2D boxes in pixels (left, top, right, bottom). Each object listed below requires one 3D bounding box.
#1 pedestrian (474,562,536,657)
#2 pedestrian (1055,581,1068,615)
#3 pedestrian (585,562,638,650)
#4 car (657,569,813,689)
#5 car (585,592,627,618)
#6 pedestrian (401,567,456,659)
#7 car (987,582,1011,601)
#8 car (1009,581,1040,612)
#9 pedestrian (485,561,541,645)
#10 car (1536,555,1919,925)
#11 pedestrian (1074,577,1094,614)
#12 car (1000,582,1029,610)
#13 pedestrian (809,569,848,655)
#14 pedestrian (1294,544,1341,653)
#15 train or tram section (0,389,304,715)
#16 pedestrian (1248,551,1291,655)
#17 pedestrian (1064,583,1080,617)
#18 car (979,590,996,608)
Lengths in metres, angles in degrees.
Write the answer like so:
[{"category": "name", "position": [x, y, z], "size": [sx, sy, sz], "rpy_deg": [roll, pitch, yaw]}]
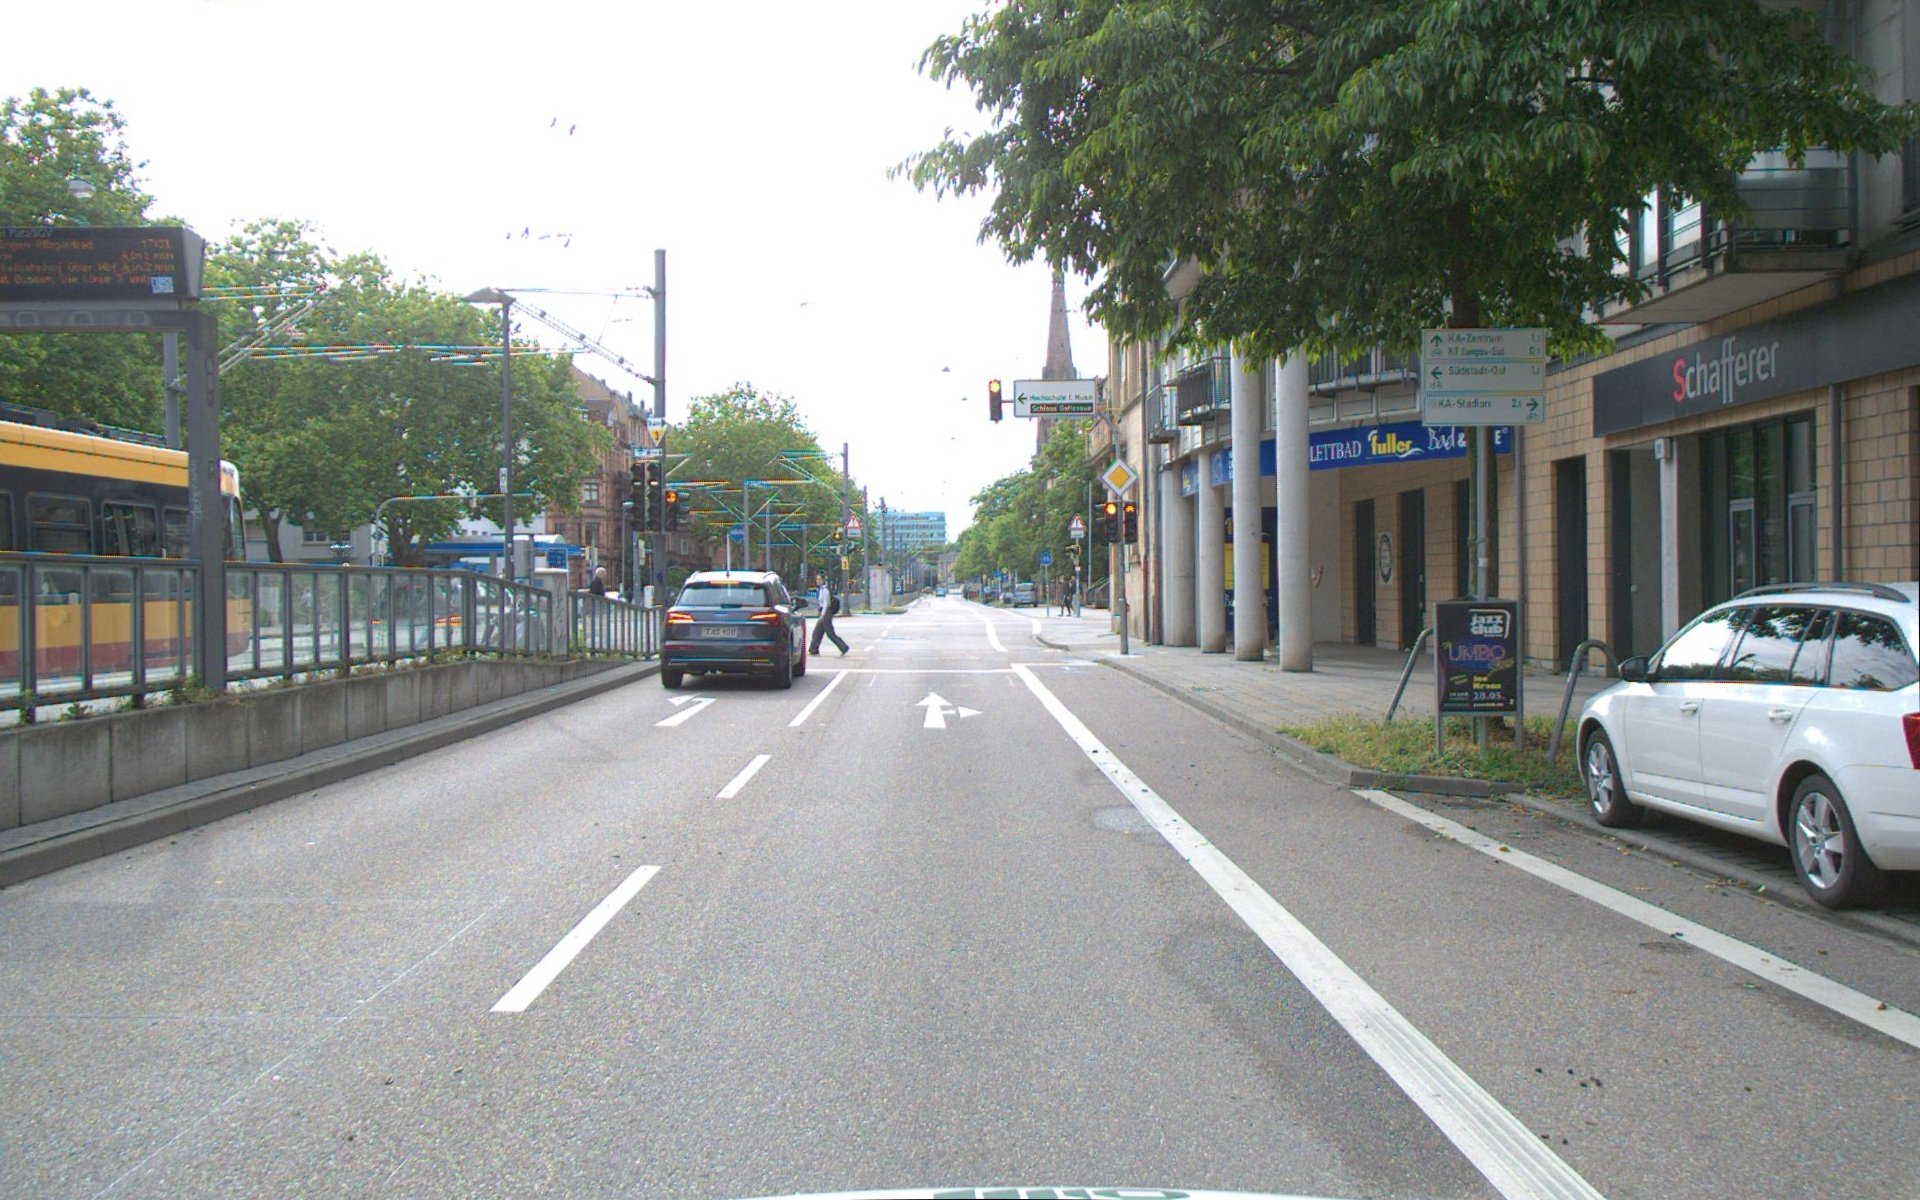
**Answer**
[{"category": "pedestrian", "position": [-8.752, 0.177, 31.808], "size": [1.113, 1.810, 0.625], "rpy_deg": [0, 0, -18]}, {"category": "pedestrian", "position": [4.699, -0.082, 76.789], "size": [0.535, 1.564, 0.465], "rpy_deg": [0, 0, -5]}, {"category": "pedestrian", "position": [-7.305, 0.120, 34.643], "size": [0.900, 1.815, 0.645], "rpy_deg": [0, 0, 37]}, {"category": "car", "position": [-3.270, 0.383, 24.804], "size": [1.842, 1.629, 4.356], "rpy_deg": [0, 0, -2]}, {"category": "car", "position": [-21.988, 0.276, 102.852], "size": [1.856, 1.585, 3.835], "rpy_deg": [0, 0, -1]}, {"category": "pedestrian", "position": [-10.736, 0.260, 33.416], "size": [0.998, 1.845, 0.580], "rpy_deg": [0, 0, -24]}, {"category": "car", "position": [3.599, -0.788, 152.538], "size": [1.953, 1.635, 4.163], "rpy_deg": [-2, 0, -1]}, {"category": "car", "position": [4.446, -0.259, 114.303], "size": [1.953, 2.049, 3.999], "rpy_deg": [0, 0, -1]}, {"category": "pedestrian", "position": [-9.116, 0.055, 33.742], "size": [0.982, 1.681, 0.622], "rpy_deg": [0, 0, -29]}, {"category": "car", "position": [4.828, 0.554, 9.221], "size": [1.642, 1.525, 4.390], "rpy_deg": [-3, 0, 0]}, {"category": "pedestrian", "position": [5.579, -0.204, 74.612], "size": [0.834, 1.683, 0.508], "rpy_deg": [0, 0, -3]}, {"category": "car", "position": [4.032, -0.304, 123.731], "size": [1.953, 2.049, 3.999], "rpy_deg": [0, 0, -1]}, {"category": "pedestrian", "position": [-2.619, 0.232, 33.037], "size": [0.713, 1.690, 0.756], "rpy_deg": [0, 0, -1]}, {"category": "pedestrian", "position": [6.502, -0.030, 30.086], "size": [0.661, 1.923, 0.737], "rpy_deg": [-2, 0, 0]}, {"category": "train or tram section", "position": [-12.249, -0.550, 19.424], "size": [2.998, 3.651, 15.846], "rpy_deg": [0, 0, -1]}, {"category": "pedestrian", "position": [5.618, 0.052, 30.066], "size": [0.603, 1.837, 0.737], "rpy_deg": [-2, 0, 0]}, {"category": "pedestrian", "position": [5.156, -0.021, 76.289], "size": [0.640, 1.564, 0.465], "rpy_deg": [0, 0, -5]}, {"category": "car", "position": [3.264, -0.097, 196.358], "size": [1.953, 2.049, 3.999], "rpy_deg": [0, 0, -1]}]
